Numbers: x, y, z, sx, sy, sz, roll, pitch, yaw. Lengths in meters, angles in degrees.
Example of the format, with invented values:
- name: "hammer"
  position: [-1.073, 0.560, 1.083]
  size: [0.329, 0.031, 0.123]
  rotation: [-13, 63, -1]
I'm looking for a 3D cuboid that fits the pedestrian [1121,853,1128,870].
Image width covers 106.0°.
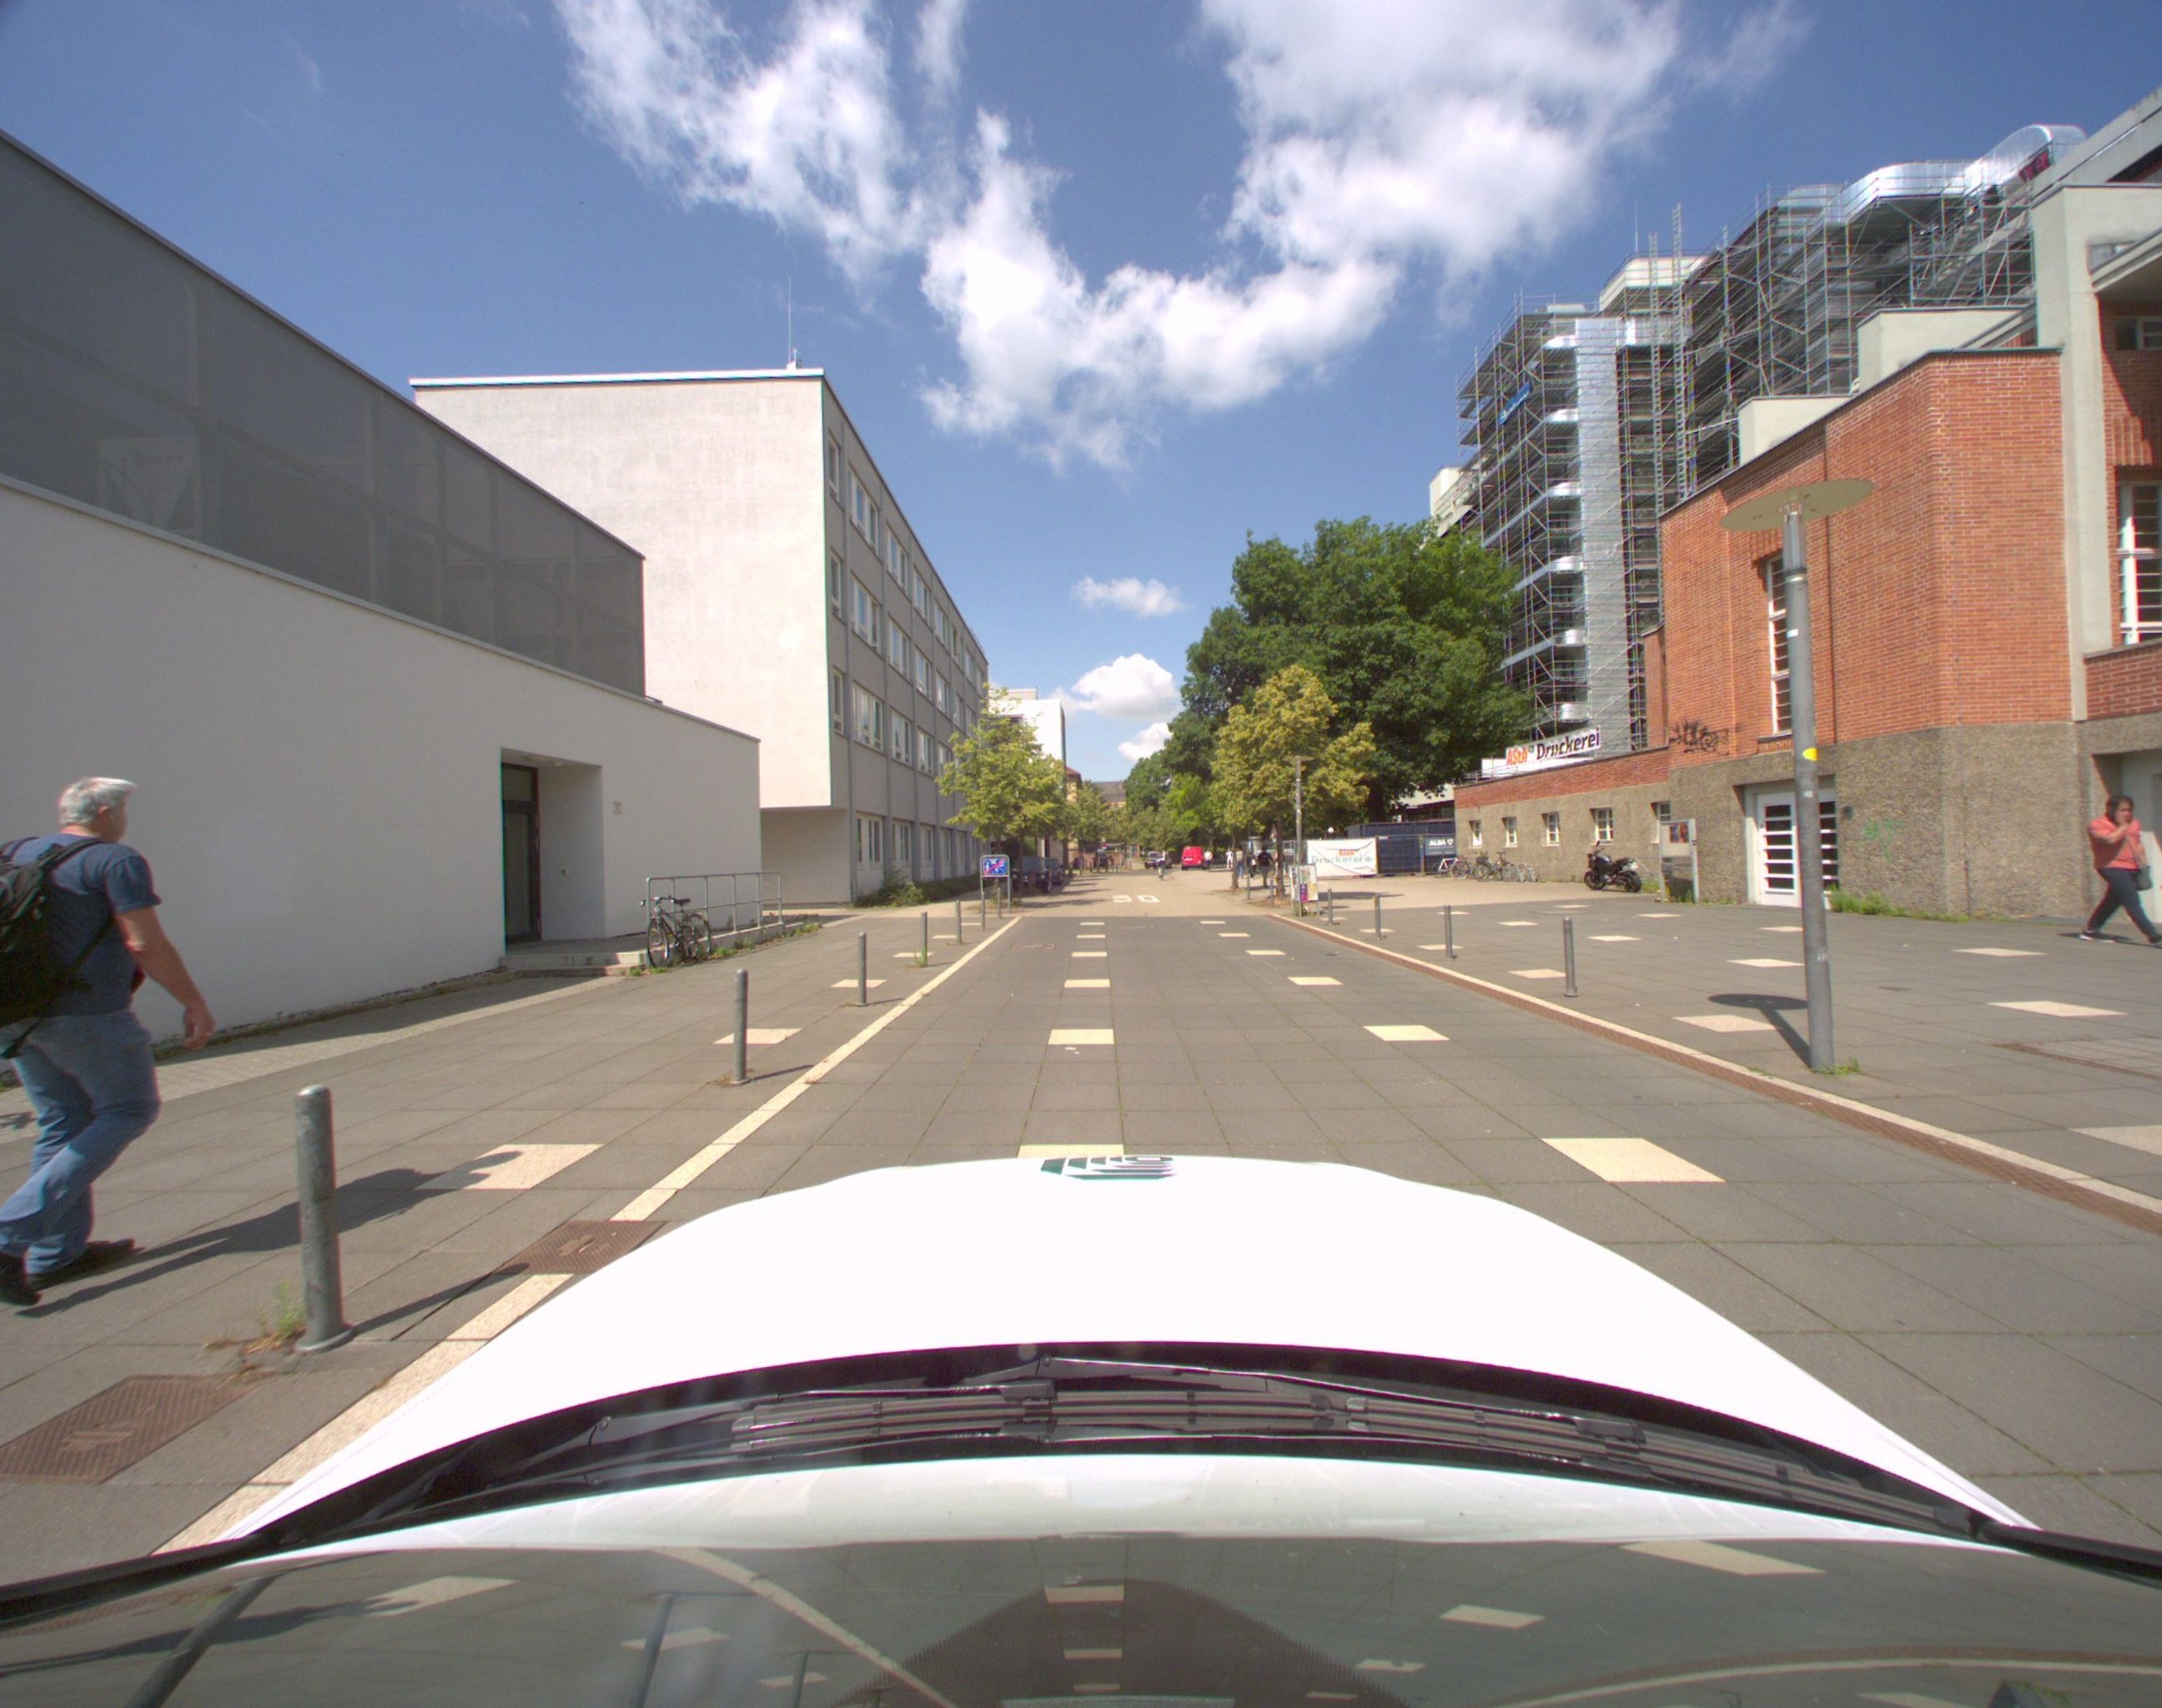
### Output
- name: "pedestrian"
  position: [4.677, 0.805, 87.579]
  size: [0.580, 1.764, 0.914]
  rotation: [-2, -1, 13]

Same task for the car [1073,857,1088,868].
- name: "car"
  position: [-0.090, 1.074, 100.179]
  size: [1.811, 1.324, 3.767]
  rotation: [-2, 0, 0]

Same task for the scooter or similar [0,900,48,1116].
- name: "scooter or similar"
  position: [-6.725, 0.920, 4.402]
  size: [0.479, 1.263, 1.318]
  rotation: [-2, 0, 13]

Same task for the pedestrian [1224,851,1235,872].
- name: "pedestrian"
  position: [13.171, 0.695, 72.333]
  size: [0.727, 1.822, 0.623]
  rotation: [-1, -1, -35]

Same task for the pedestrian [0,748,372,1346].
- name: "pedestrian"
  position: [-3.558, 0.596, 3.037]
  size: [0.822, 1.817, 1.143]
  rotation: [-2, 0, -4]

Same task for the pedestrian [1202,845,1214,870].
- name: "pedestrian"
  position: [9.390, 0.266, 59.973]
  size: [0.689, 1.781, 0.790]
  rotation: [-2, -1, 18]

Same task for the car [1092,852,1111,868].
- name: "car"
  position: [2.475, 0.724, 100.190]
  size: [2.168, 1.926, 5.184]
  rotation: [-2, 0, -1]

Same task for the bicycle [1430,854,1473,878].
- name: "bicycle"
  position: [16.210, 0.538, 35.647]
  size: [1.665, 1.003, 0.448]
  rotation: [-2, 0, 1]

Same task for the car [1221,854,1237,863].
- name: "car"
  position: [22.460, 0.674, 123.555]
  size: [1.601, 1.388, 4.021]
  rotation: [-2, -1, 22]

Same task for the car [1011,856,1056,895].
- name: "car"
  position: [-2.033, 0.881, 35.783]
  size: [1.691, 1.564, 4.066]
  rotation: [-2, 0, -1]

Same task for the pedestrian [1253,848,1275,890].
- name: "pedestrian"
  position: [7.470, 0.600, 33.332]
  size: [0.640, 1.697, 0.791]
  rotation: [-2, 0, -4]

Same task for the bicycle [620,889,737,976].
- name: "bicycle"
  position: [-5.704, 1.074, 11.668]
  size: [0.540, 1.061, 1.902]
  rotation: [-2, 0, 6]

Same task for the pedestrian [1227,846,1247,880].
- name: "pedestrian"
  position: [8.461, 0.486, 44.232]
  size: [0.849, 1.764, 0.714]
  rotation: [-2, -1, -7]

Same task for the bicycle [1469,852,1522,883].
- name: "bicycle"
  position: [15.890, 0.509, 31.236]
  size: [1.799, 1.109, 0.448]
  rotation: [-2, 0, 1]

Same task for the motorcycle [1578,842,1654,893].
- name: "motorcycle"
  position: [14.746, 0.362, 22.528]
  size: [0.693, 1.323, 2.222]
  rotation: [-2, 0, 3]

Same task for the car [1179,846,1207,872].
- name: "car"
  position: [9.008, 0.387, 65.140]
  size: [1.836, 1.891, 4.905]
  rotation: [-2, 0, 11]

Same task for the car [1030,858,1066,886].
- name: "car"
  position: [-1.747, 0.952, 44.365]
  size: [1.772, 1.461, 4.257]
  rotation: [0, 0, -1]

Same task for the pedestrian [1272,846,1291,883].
- name: "pedestrian"
  position: [9.230, 0.494, 37.480]
  size: [0.646, 1.666, 0.905]
  rotation: [-2, -1, 3]

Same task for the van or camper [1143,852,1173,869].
- name: "van or camper"
  position: [8.749, 0.694, 91.780]
  size: [1.937, 1.923, 5.448]
  rotation: [-1, 0, 21]

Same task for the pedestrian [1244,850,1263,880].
- name: "pedestrian"
  position: [9.330, 0.599, 44.037]
  size: [0.668, 1.600, 0.982]
  rotation: [-2, -1, -8]

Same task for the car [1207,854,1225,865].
- name: "car"
  position: [19.330, 0.794, 116.538]
  size: [1.744, 1.522, 4.133]
  rotation: [-2, -1, 22]

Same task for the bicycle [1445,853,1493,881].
- name: "bicycle"
  position: [15.861, 0.525, 33.296]
  size: [1.695, 1.109, 0.448]
  rotation: [-2, 0, 1]

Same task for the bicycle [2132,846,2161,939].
- name: "bicycle"
  position: [14.290, 0.458, 10.177]
  size: [1.748, 1.149, 0.435]
  rotation: [-2, 0, -1]

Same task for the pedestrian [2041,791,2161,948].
- name: "pedestrian"
  position: [12.727, 0.181, 10.042]
  size: [0.661, 1.834, 0.906]
  rotation: [-2, 0, -1]
